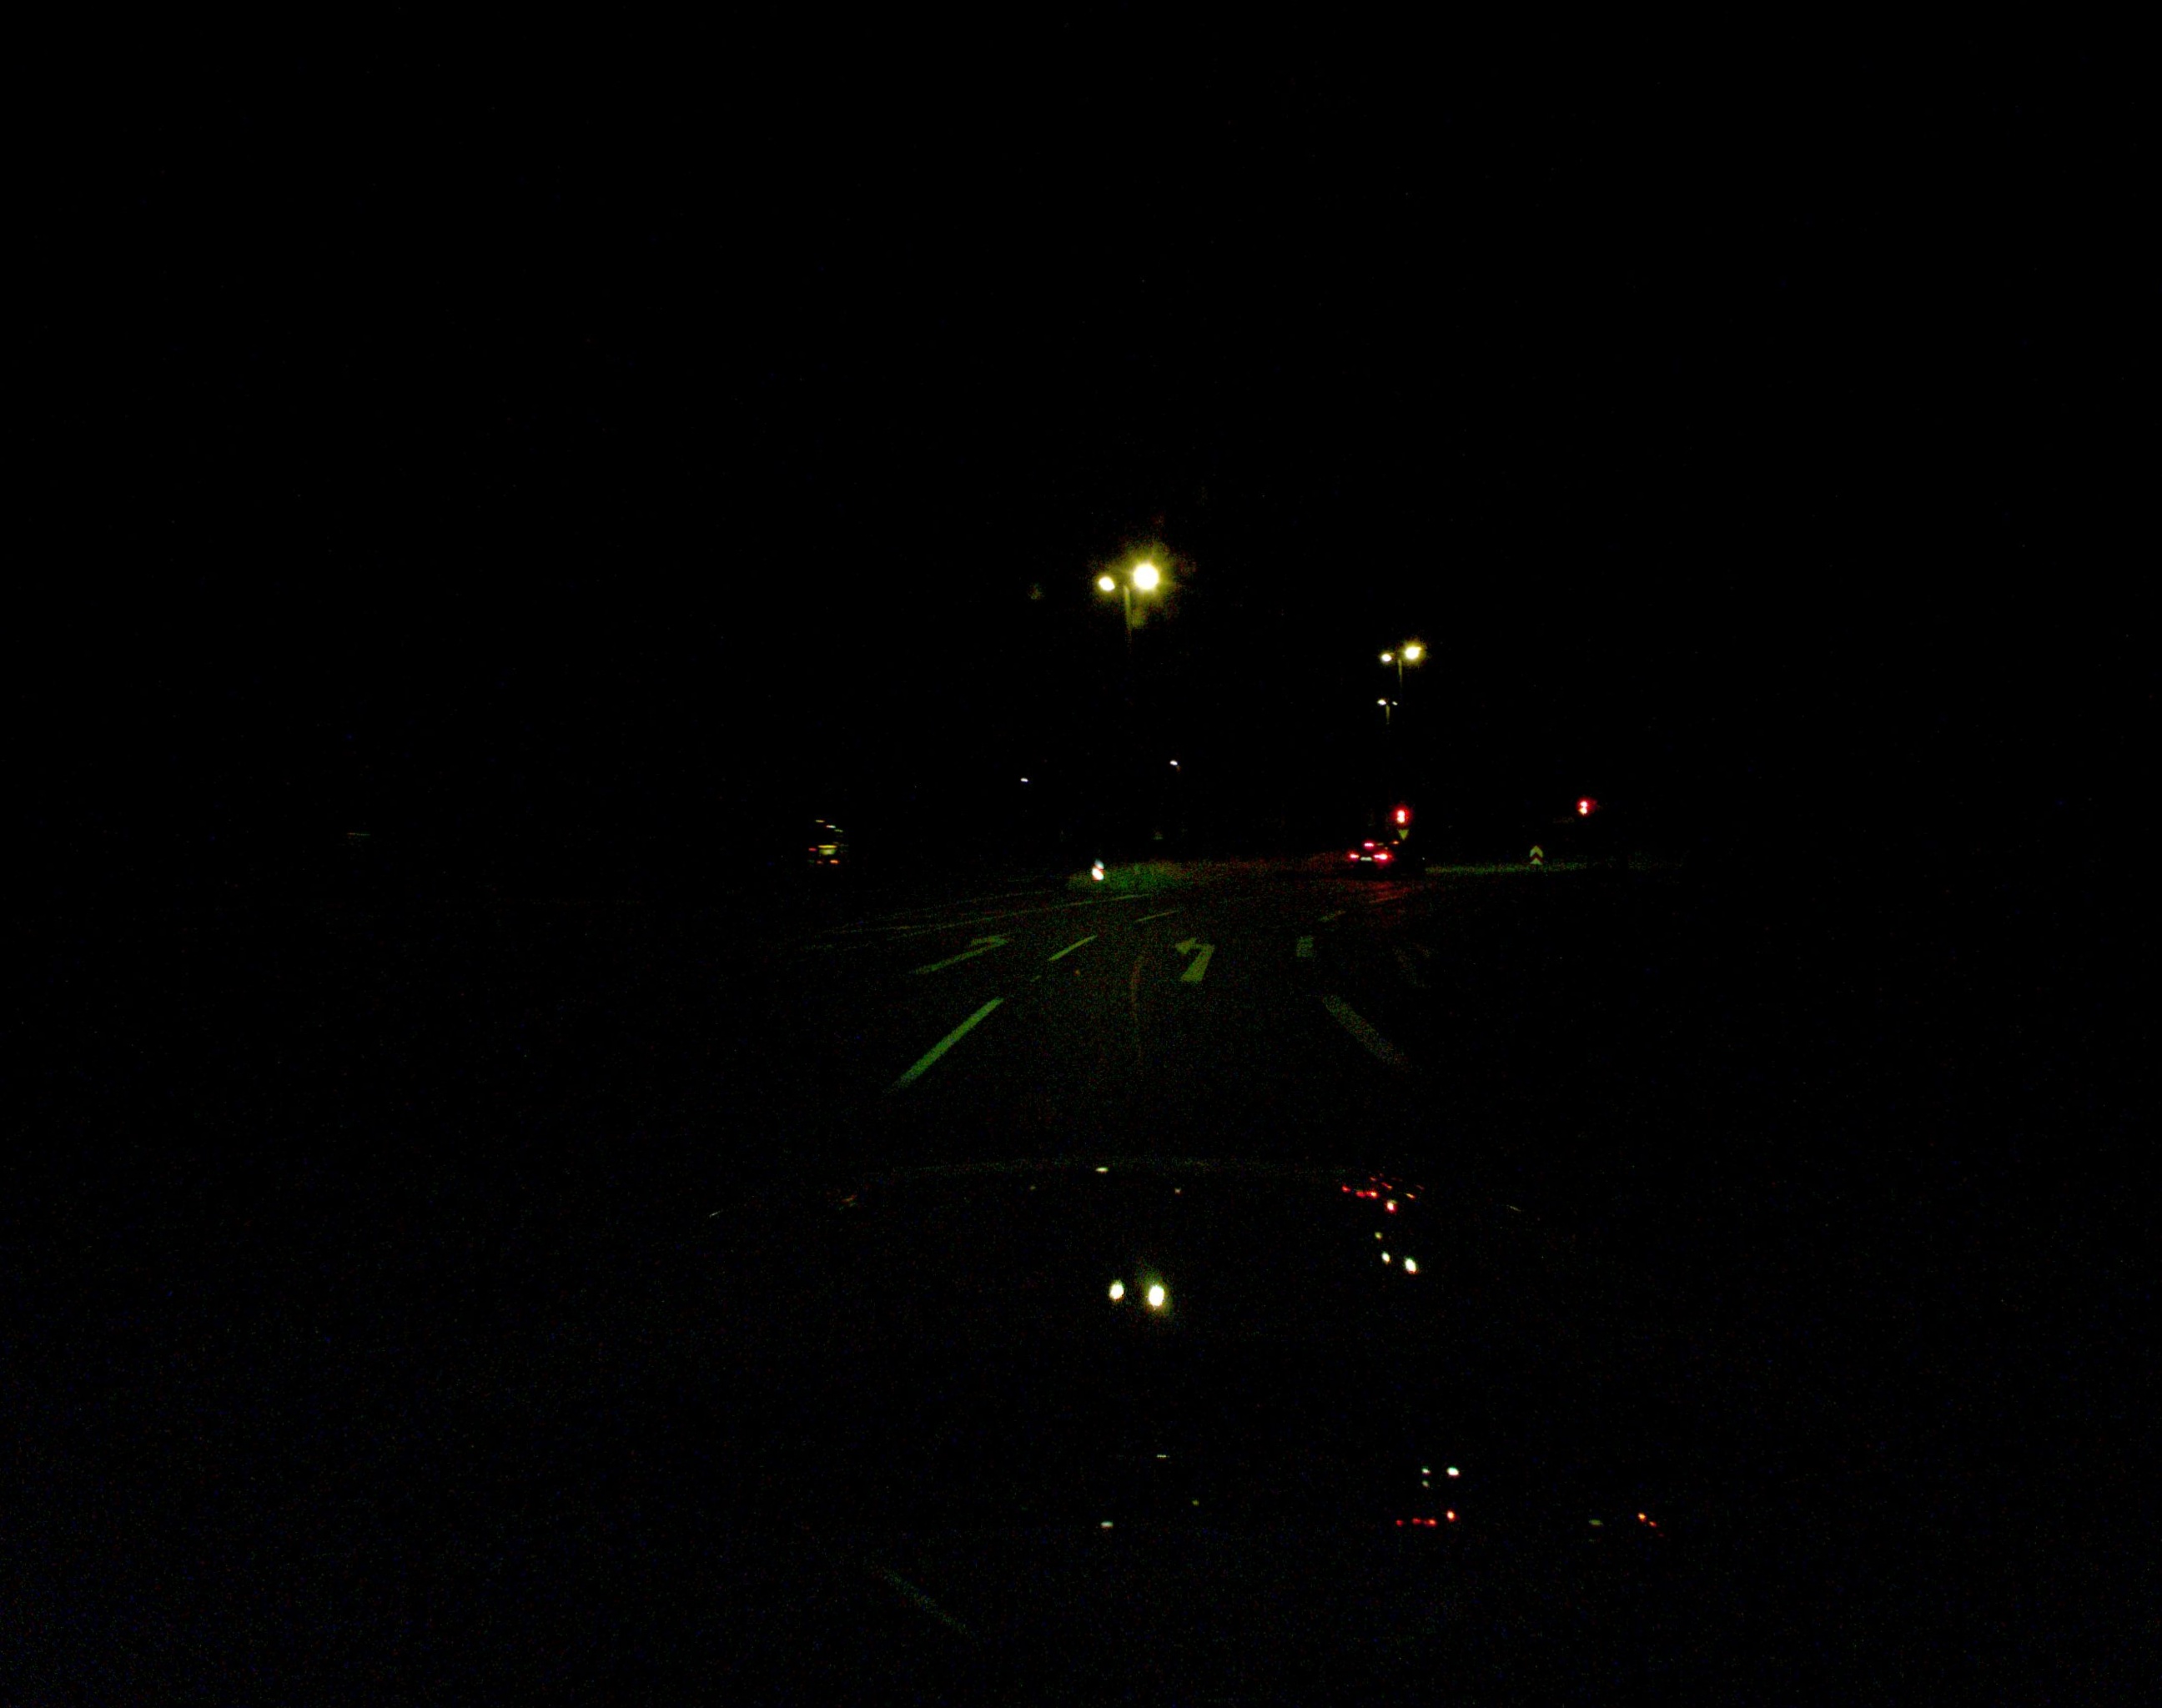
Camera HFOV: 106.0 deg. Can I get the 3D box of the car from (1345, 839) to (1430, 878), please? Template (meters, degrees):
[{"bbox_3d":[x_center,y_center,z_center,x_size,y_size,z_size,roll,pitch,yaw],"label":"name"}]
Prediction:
[{"bbox_3d":[13.476,0.141,35.710,4.028,1.582,1.836,-1,2,-41],"label":"car"}]
